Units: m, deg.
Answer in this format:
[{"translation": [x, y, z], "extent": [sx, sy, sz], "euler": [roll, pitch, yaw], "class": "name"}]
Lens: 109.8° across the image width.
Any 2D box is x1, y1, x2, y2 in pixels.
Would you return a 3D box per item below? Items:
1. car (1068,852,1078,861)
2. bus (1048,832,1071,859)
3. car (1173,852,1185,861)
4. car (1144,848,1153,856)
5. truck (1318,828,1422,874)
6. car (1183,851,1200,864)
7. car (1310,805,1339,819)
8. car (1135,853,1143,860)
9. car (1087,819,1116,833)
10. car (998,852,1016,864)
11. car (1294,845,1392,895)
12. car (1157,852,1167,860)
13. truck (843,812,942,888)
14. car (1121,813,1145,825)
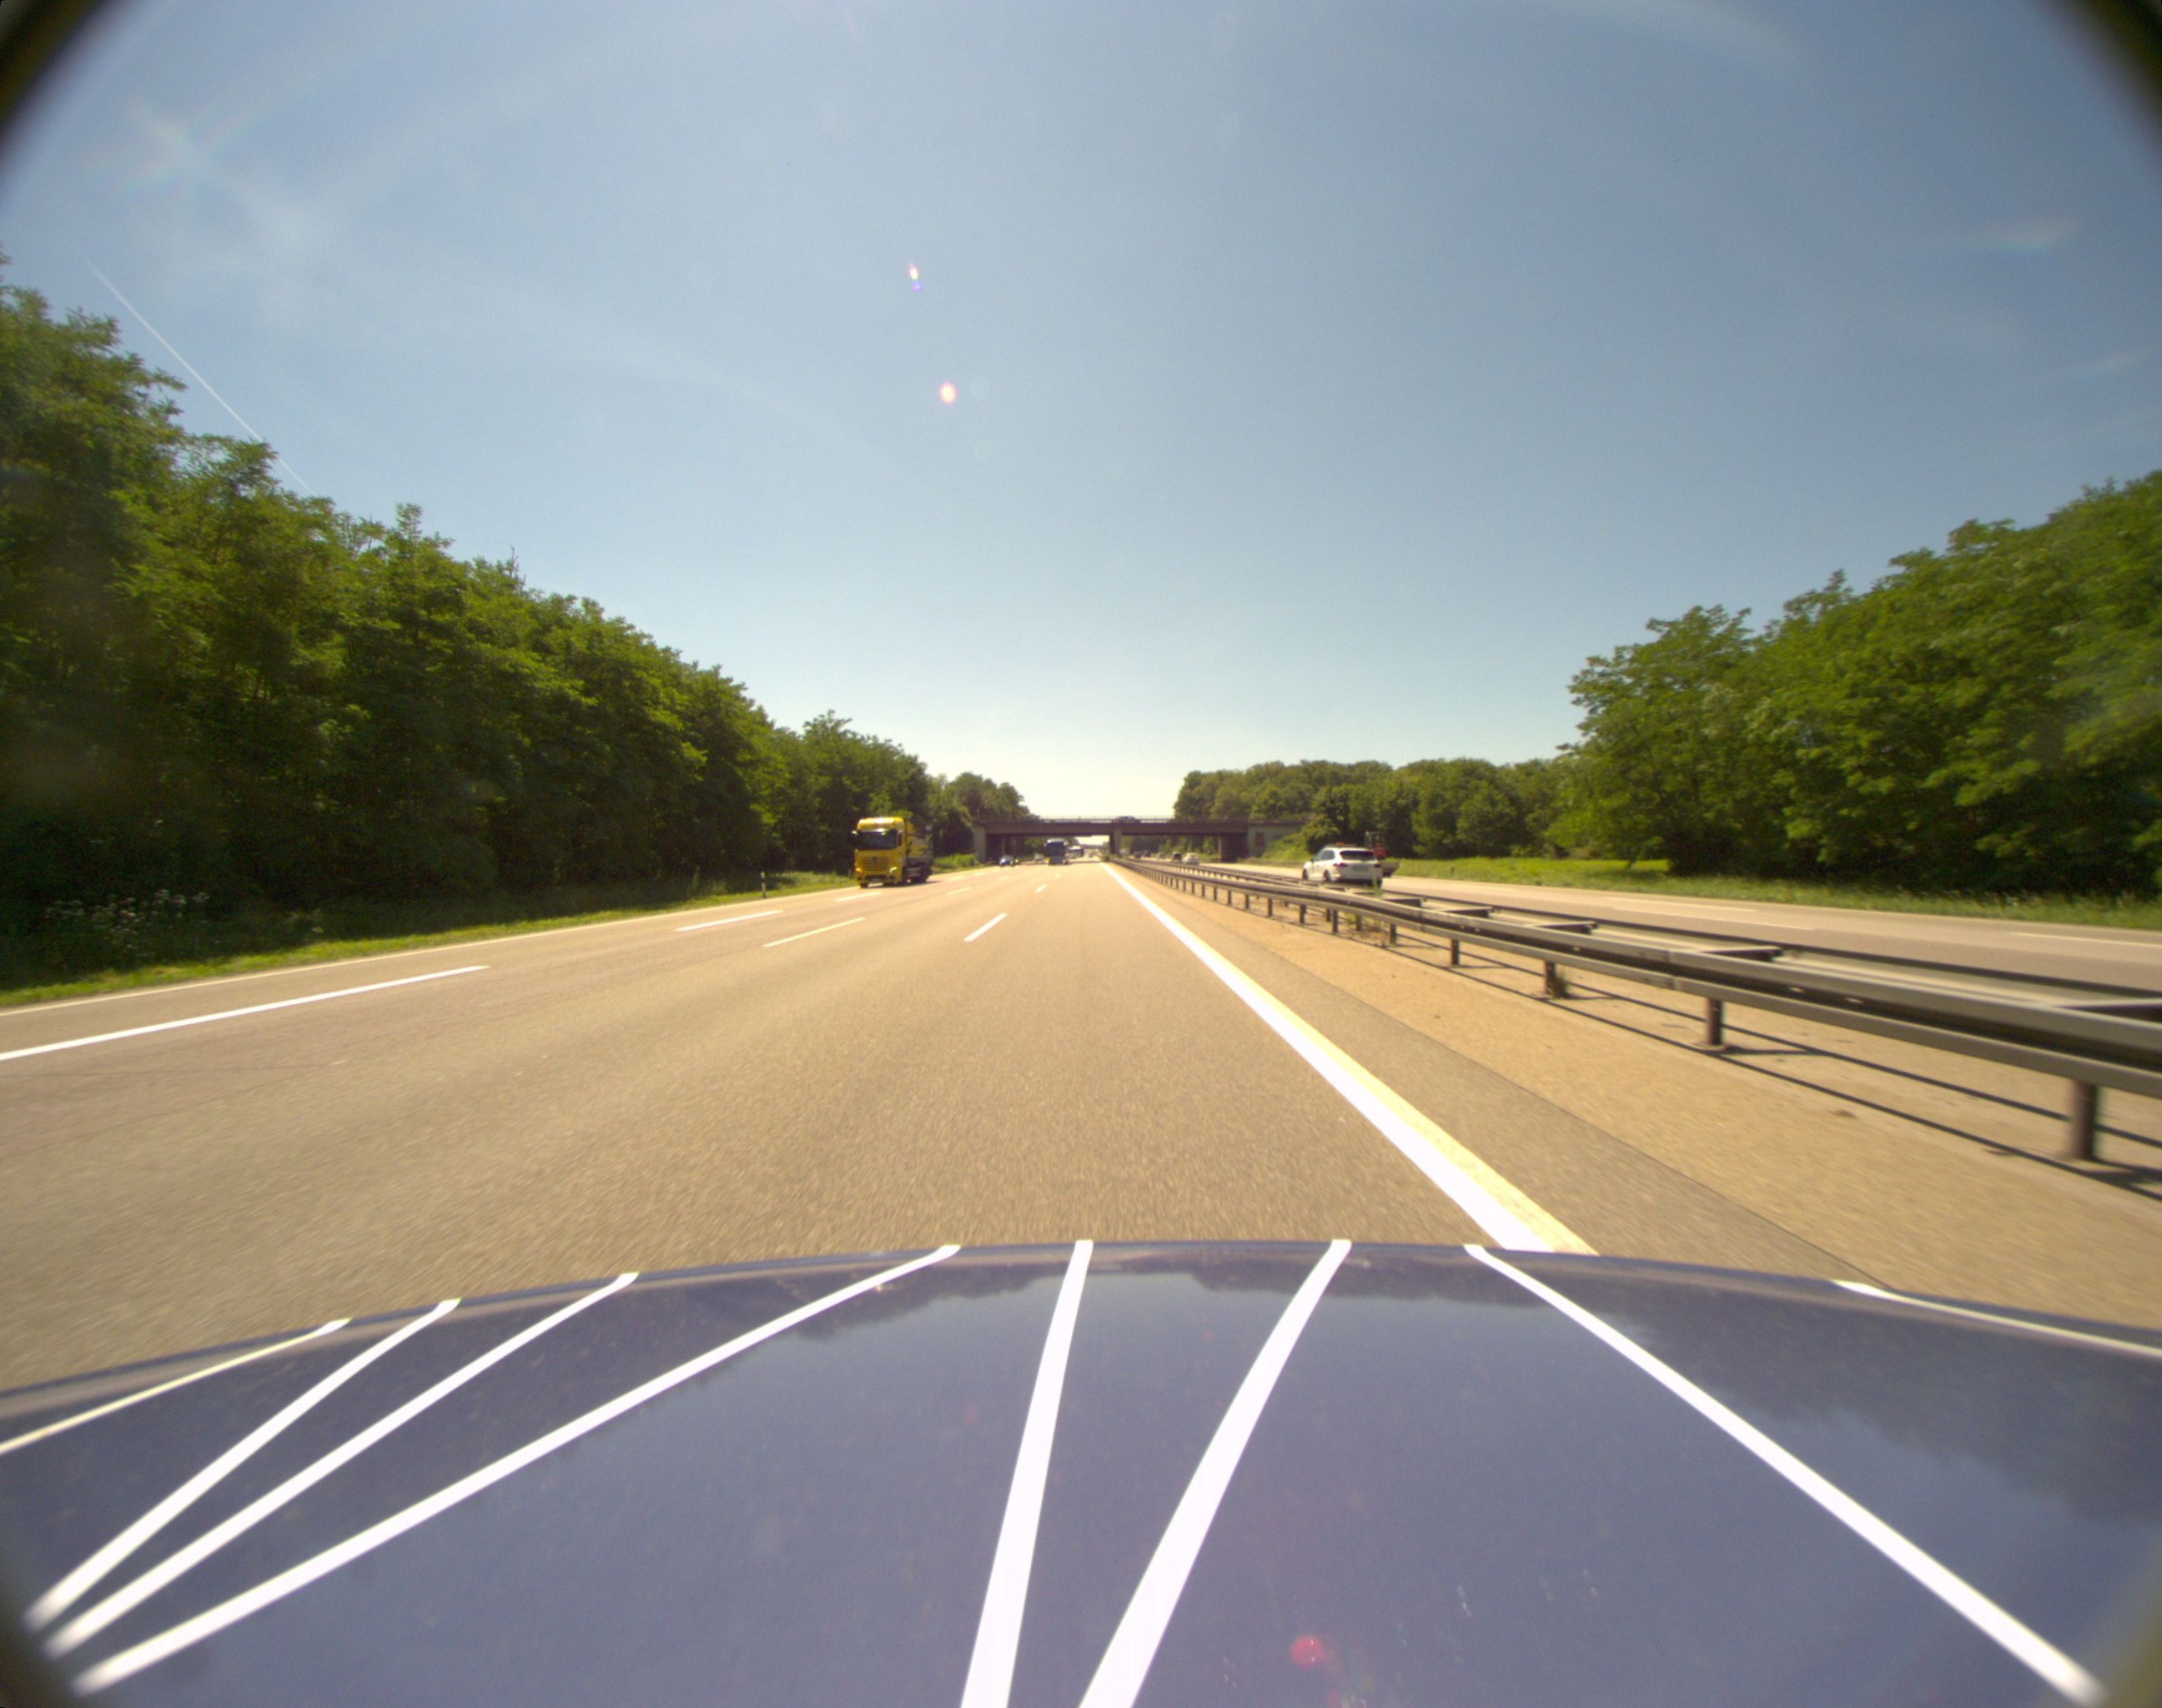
[{"translation": [-2.086, 0.599, 203.746], "extent": [2.616, 2.389, 7.122], "euler": [-2, 1, 0], "class": "car"}, {"translation": [-3.039, -1.221, 109.209], "extent": [2.617, 3.532, 13.681], "euler": [-2, 1, 1], "class": "bus"}, {"translation": [19.681, 0.491, 152.971], "extent": [1.745, 1.753, 5.085], "euler": [0, 1, -1], "class": "car"}, {"translation": [21.130, -0.589, 237.689], "extent": [2.094, 2.385, 5.733], "euler": [-2, 1, -1], "class": "car"}, {"translation": [20.572, -0.250, 55.220], "extent": [2.760, 2.973, 12.854], "euler": [0, 1, 1], "class": "truck"}, {"translation": [14.268, 0.395, 98.287], "extent": [1.692, 1.535, 4.204], "euler": [-2, 1, 1], "class": "car"}, {"translation": [40.556, -6.977, 126.596], "extent": [4.156, 2.002, 1.999], "euler": [-2, 1, -2], "class": "car"}, {"translation": [15.664, 0.617, 204.709], "extent": [1.744, 1.709, 4.639], "euler": [0, 1, 1], "class": "car"}, {"translation": [3.350, -4.647, 125.319], "extent": [4.649, 2.002, 1.999], "euler": [-2, 1, -2], "class": "car"}, {"translation": [-10.237, 0.593, 105.544], "extent": [1.875, 1.547, 4.201], "euler": [-2, 1, 1], "class": "car"}, {"translation": [10.103, 0.586, 29.794], "extent": [1.998, 1.696, 5.265], "euler": [-2, 0, 1], "class": "car"}, {"translation": [19.278, 0.504, 180.642], "extent": [1.744, 1.795, 4.934], "euler": [0, 1, 1], "class": "car"}, {"translation": [-11.396, -0.282, 47.397], "extent": [2.982, 4.013, 10.981], "euler": [-3, 1, 2], "class": "truck"}, {"translation": [9.043, -6.095, 132.643], "extent": [3.998, 2.002, 1.999], "euler": [-2, 1, -2], "class": "car"}]
